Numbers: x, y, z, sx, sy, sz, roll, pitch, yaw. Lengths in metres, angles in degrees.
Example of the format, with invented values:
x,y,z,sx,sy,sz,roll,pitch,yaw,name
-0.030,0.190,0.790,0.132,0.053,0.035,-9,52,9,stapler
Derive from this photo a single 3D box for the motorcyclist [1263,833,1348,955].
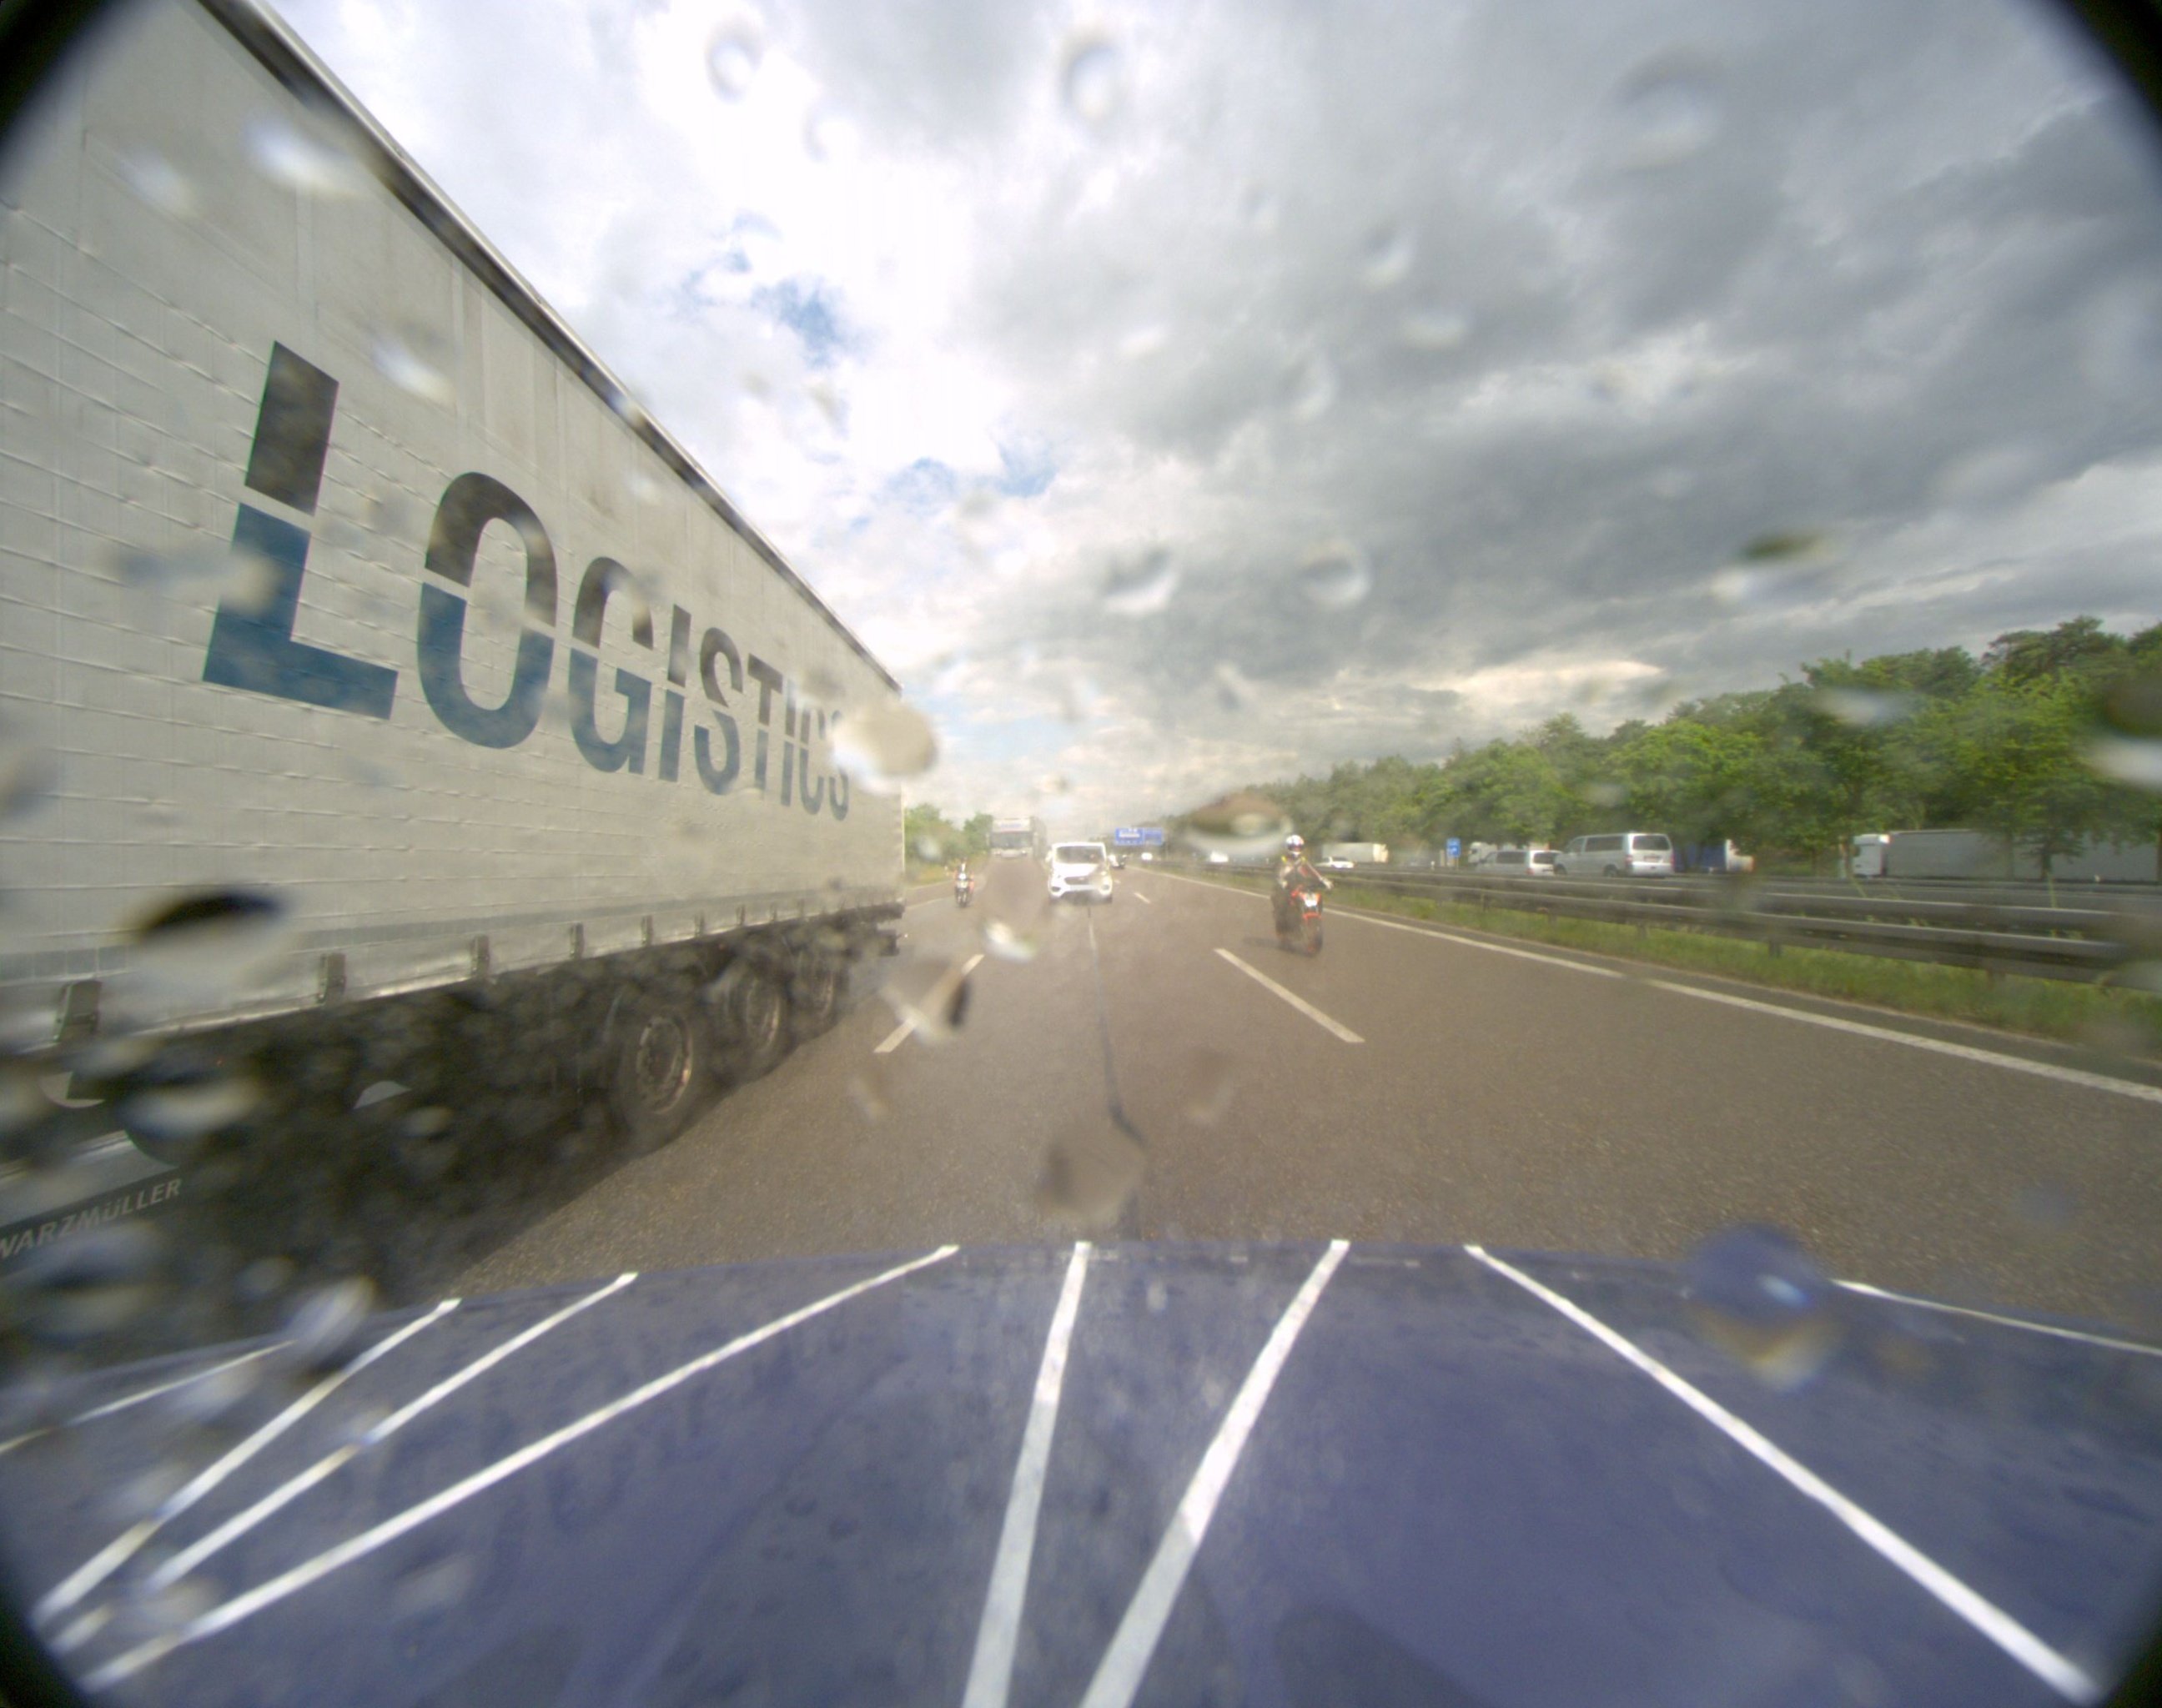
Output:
x,y,z,sx,sy,sz,roll,pitch,yaw,name
3.287,0.562,11.215,0.883,1.696,1.000,-2,1,-2,motorcyclist

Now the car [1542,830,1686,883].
x,y,z,sx,sy,sz,roll,pitch,yaw,name
21.103,0.065,30.430,2.051,1.880,5.258,-2,1,0,car

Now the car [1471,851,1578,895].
x,y,z,sx,sy,sz,roll,pitch,yaw,name
21.132,0.833,36.536,2.051,1.880,5.258,-2,1,0,car

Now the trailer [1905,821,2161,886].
x,y,z,sx,sy,sz,roll,pitch,yaw,name
55.158,-0.068,42.941,3.356,3.198,12.471,-1,0,-2,trailer

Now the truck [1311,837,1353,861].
x,y,z,sx,sy,sz,roll,pitch,yaw,name
41.107,-0.839,124.546,3.219,3.683,6.907,-2,1,-14,truck

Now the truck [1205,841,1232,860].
x,y,z,sx,sy,sz,roll,pitch,yaw,name
21.369,-0.553,118.181,2.849,2.666,7.190,-2,1,1,truck

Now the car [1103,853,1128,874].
x,y,z,sx,sy,sz,roll,pitch,yaw,name
3.687,0.970,81.697,2.350,2.033,5.142,-2,1,0,car

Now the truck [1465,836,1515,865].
x,y,z,sx,sy,sz,roll,pitch,yaw,name
49.002,-0.437,91.132,2.663,3.249,5.081,-2,1,-10,truck

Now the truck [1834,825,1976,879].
x,y,z,sx,sy,sz,roll,pitch,yaw,name
54.840,-0.158,50.791,3.362,3.254,5.505,-2,1,-4,truck

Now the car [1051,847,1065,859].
x,y,z,sx,sy,sz,roll,pitch,yaw,name
-4.293,-0.207,140.264,2.350,2.033,5.142,-2,1,0,car

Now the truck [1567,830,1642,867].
x,y,z,sx,sy,sz,roll,pitch,yaw,name
51.745,-0.511,75.232,2.869,3.436,5.892,-2,1,-7,truck

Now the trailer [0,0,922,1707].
x,y,z,sx,sy,sz,roll,pitch,yaw,name
-3.736,-0.187,2.865,3.292,3.876,14.126,-2,0,-1,trailer

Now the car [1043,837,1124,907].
x,y,z,sx,sy,sz,roll,pitch,yaw,name
0.070,0.525,25.507,2.350,2.033,5.142,-2,1,0,car

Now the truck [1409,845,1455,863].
x,y,z,sx,sy,sz,roll,pitch,yaw,name
47.100,0.003,102.071,2.126,2.252,6.311,-2,1,-13,truck

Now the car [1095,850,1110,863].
x,y,z,sx,sy,sz,roll,pitch,yaw,name
3.551,0.338,126.226,2.350,2.033,5.142,-2,1,0,car

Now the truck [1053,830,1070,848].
x,y,z,sx,sy,sz,roll,pitch,yaw,name
-4.082,-3.160,159.534,3.218,3.607,10.152,-2,1,0,truck

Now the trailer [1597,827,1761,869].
x,y,z,sx,sy,sz,roll,pitch,yaw,name
52.642,-0.498,67.771,2.832,3.385,13.417,-1,0,-7,trailer

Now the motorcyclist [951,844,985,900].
x,y,z,sx,sy,sz,roll,pitch,yaw,name
-3.555,0.542,23.915,0.883,1.696,1.000,-2,1,-2,motorcyclist

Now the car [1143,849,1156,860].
x,y,z,sx,sy,sz,roll,pitch,yaw,name
13.192,0.082,147.109,2.051,1.880,5.258,-2,1,0,car

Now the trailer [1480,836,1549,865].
x,y,z,sx,sy,sz,roll,pitch,yaw,name
49.740,-0.431,87.396,2.588,3.214,7.734,-1,1,-10,trailer

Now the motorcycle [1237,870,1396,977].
x,y,z,sx,sy,sz,roll,pitch,yaw,name
3.318,0.917,11.238,1.188,1.219,3.193,-2,1,-3,motorcycle

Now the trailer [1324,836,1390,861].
x,y,z,sx,sy,sz,roll,pitch,yaw,name
42.738,-0.805,118.170,3.216,3.717,12.553,-1,0,-14,trailer

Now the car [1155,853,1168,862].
x,y,z,sx,sy,sz,roll,pitch,yaw,name
17.865,0.776,169.384,2.306,1.880,4.778,-2,1,0,car

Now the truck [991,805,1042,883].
x,y,z,sx,sy,sz,roll,pitch,yaw,name
-3.743,-0.579,45.593,2.650,4.250,6.882,-2,1,-3,truck

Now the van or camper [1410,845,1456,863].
x,y,z,sx,sy,sz,roll,pitch,yaw,name
47.068,0.005,101.894,2.126,2.252,6.316,-2,1,-13,van or camper

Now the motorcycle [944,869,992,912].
x,y,z,sx,sy,sz,roll,pitch,yaw,name
-3.530,1.107,24.095,1.188,1.142,3.193,-2,1,-3,motorcycle

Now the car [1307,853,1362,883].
x,y,z,sx,sy,sz,roll,pitch,yaw,name
17.761,0.917,53.561,2.051,1.880,5.258,-2,1,0,car
